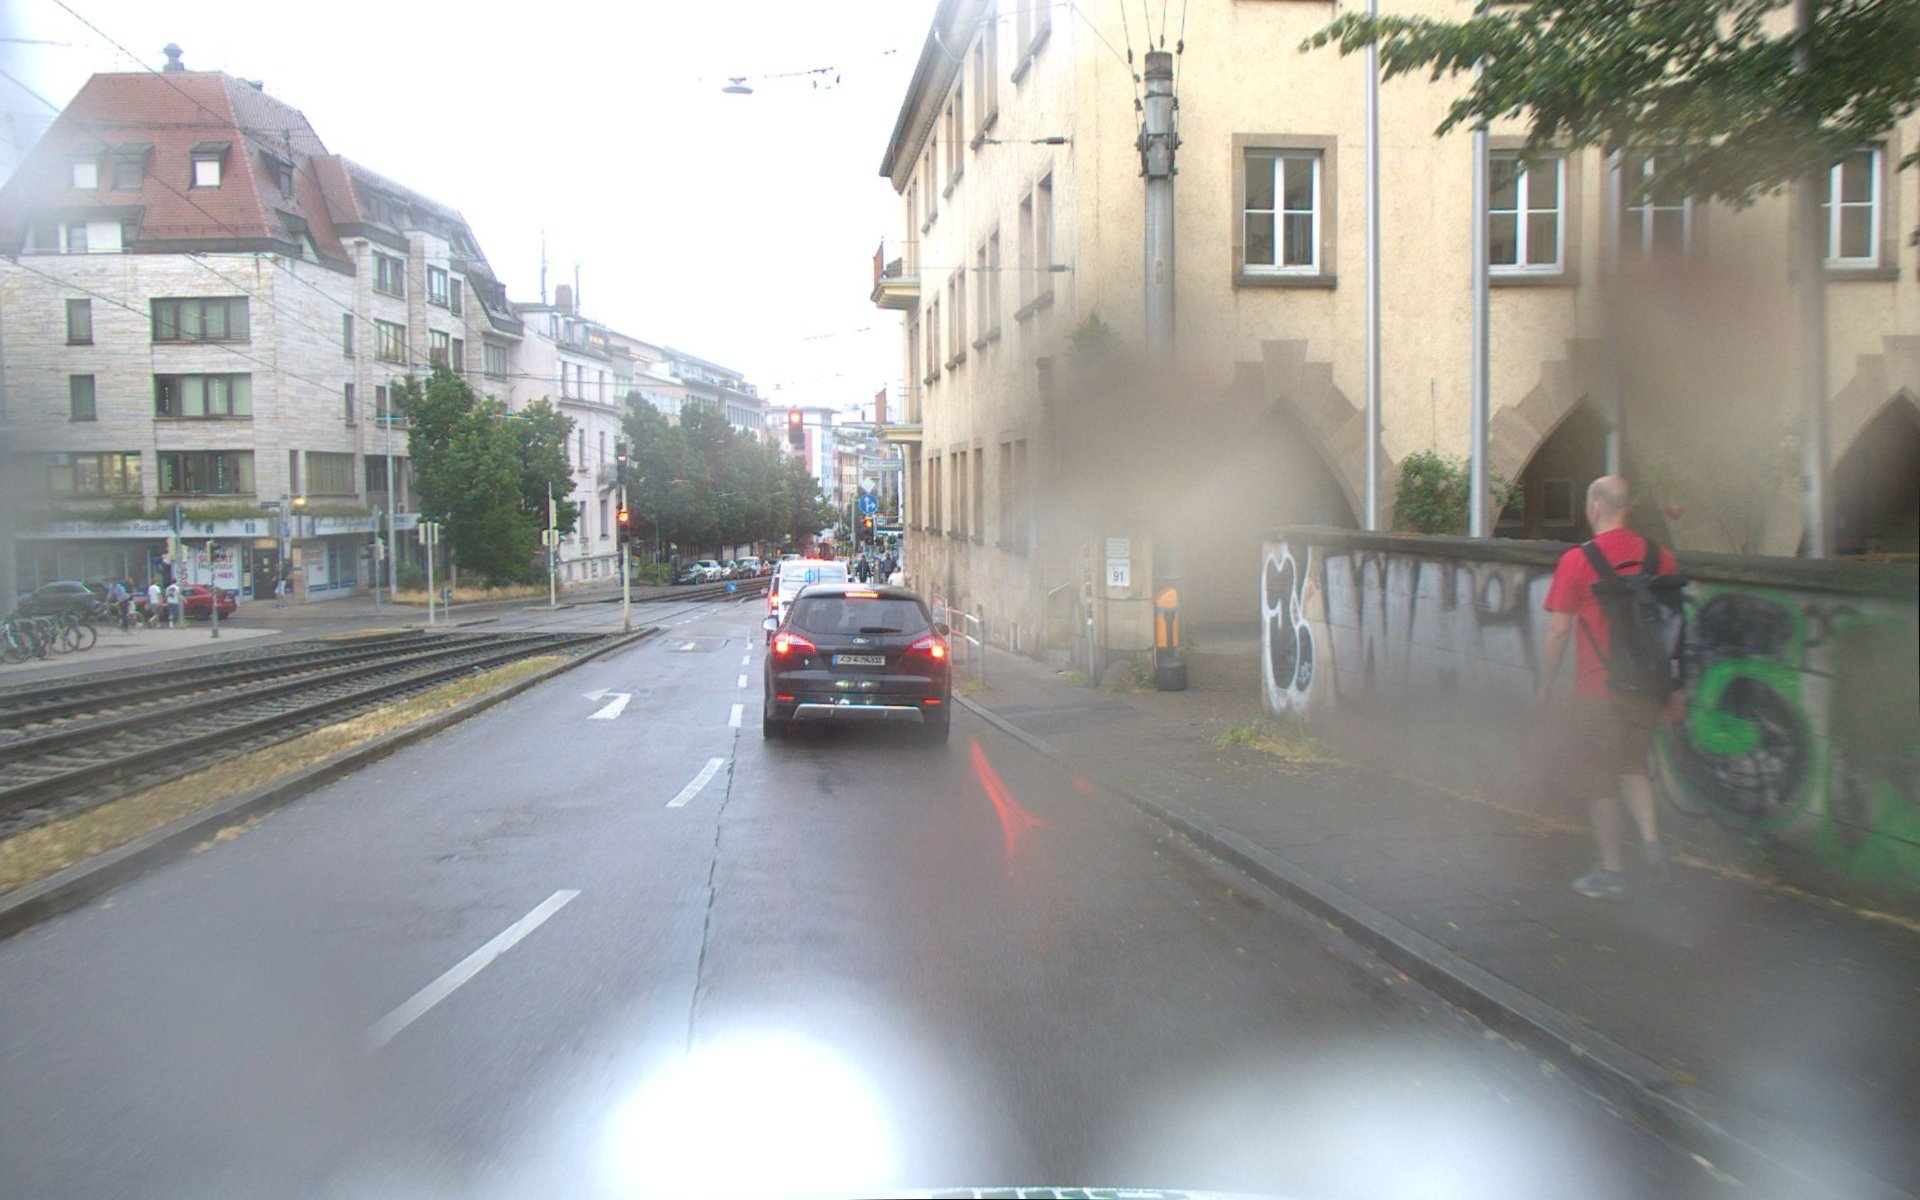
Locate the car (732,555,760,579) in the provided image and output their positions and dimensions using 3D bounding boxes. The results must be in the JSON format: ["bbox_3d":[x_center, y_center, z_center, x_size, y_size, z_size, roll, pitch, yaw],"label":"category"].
[{"bbox_3d":[-18.308,-2.827,141.849,1.953,2.048,3.999,-1,1,-2],"label":"car"}]

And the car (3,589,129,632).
[{"bbox_3d":[-35.740,0.393,66.180,4.047,1.596,1.824,-1,1,2],"label":"car"}]

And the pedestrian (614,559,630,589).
[{"bbox_3d":[-23.048,-1.793,112.745,0.926,2.048,0.761,-1,1,-16],"label":"pedestrian"}]

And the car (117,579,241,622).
[{"bbox_3d":[-30.971,0.005,65.653,4.047,1.596,1.824,-1,1,2],"label":"car"}]

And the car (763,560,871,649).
[{"bbox_3d":[-3.218,0.041,36.479,2.097,1.775,4.211,-2,2,-8],"label":"car"}]

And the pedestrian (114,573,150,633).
[{"bbox_3d":[-29.206,0.098,58.362,0.924,2.048,0.763,-1,1,-10],"label":"pedestrian"}]

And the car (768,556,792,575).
[{"bbox_3d":[-16.846,-3.227,154.963,1.953,1.691,3.999,-1,1,-2],"label":"car"}]

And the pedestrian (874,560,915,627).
[{"bbox_3d":[-1.844,-0.194,46.549,1.025,1.826,0.900,-1,1,-9],"label":"pedestrian"}]

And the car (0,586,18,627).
[{"bbox_3d":[-40.361,0.292,66.044,4.366,1.596,1.909,-1,1,2],"label":"car"}]

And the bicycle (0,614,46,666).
[{"bbox_3d":[-20.345,0.848,34.929,1.771,1.082,0.454,-1,1,-21],"label":"bicycle"}]

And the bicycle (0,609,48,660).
[{"bbox_3d":[-21.698,0.792,37.473,1.775,1.127,0.452,-1,1,-27],"label":"bicycle"}]

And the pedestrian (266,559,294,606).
[{"bbox_3d":[-28.733,-0.737,69.939,0.888,1.965,0.823,-1,1,-10],"label":"pedestrian"}]

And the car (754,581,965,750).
[{"bbox_3d":[-1.052,0.566,16.756,1.882,1.505,3.996,0,0,-5],"label":"car"}]

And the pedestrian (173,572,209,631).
[{"bbox_3d":[-27.012,0.036,58.102,0.923,2.048,0.764,-1,1,-7],"label":"pedestrian"}]

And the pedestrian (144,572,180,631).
[{"bbox_3d":[-28.027,0.055,58.114,0.924,2.048,0.763,-1,1,-10],"label":"pedestrian"}]

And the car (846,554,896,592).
[{"bbox_3d":[-4.384,-1.353,82.024,1.951,1.803,4.003,-1,1,4],"label":"car"}]

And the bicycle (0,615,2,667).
[{"bbox_3d":[-20.633,0.854,33.791,1.768,1.082,0.455,-1,1,-18],"label":"bicycle"}]

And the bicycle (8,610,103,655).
[{"bbox_3d":[-22.215,0.785,40.638,1.917,1.045,0.718,0,1,-16],"label":"bicycle"}]

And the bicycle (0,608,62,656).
[{"bbox_3d":[-22.112,0.756,38.763,1.769,1.082,0.566,-1,1,-19],"label":"bicycle"}]

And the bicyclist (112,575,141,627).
[{"bbox_3d":[-25.858,0.025,51.319,0.454,1.601,0.697,0,1,44],"label":"bicyclist"}]

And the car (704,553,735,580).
[{"bbox_3d":[-18.985,-2.626,130.865,1.953,2.048,3.999,-1,1,-2],"label":"car"}]

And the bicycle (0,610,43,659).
[{"bbox_3d":[-21.415,0.769,36.727,1.771,1.082,0.454,-1,1,-21],"label":"bicycle"}]

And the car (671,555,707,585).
[{"bbox_3d":[-19.327,-2.145,118.161,1.953,2.048,3.999,-1,1,-2],"label":"car"}]

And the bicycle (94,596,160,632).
[{"bbox_3d":[-25.843,0.426,51.336,0.449,1.082,1.791,1,1,43],"label":"bicycle"}]

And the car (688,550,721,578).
[{"bbox_3d":[-19.209,-2.738,124.467,1.953,2.048,3.999,-1,1,-2],"label":"car"}]

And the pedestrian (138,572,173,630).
[{"bbox_3d":[-29.127,0.036,59.897,0.924,2.048,0.763,-1,1,-10],"label":"pedestrian"}]

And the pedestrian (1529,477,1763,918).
[{"bbox_3d":[2.883,0.382,7.002,0.620,1.751,0.710,-2,1,-5],"label":"pedestrian"}]

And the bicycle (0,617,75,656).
[{"bbox_3d":[-22.110,0.873,39.491,1.623,0.881,0.566,0,1,-17],"label":"bicycle"}]

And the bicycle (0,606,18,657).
[{"bbox_3d":[-21.458,0.692,35.855,1.734,1.090,0.485,0,1,-4],"label":"bicycle"}]
